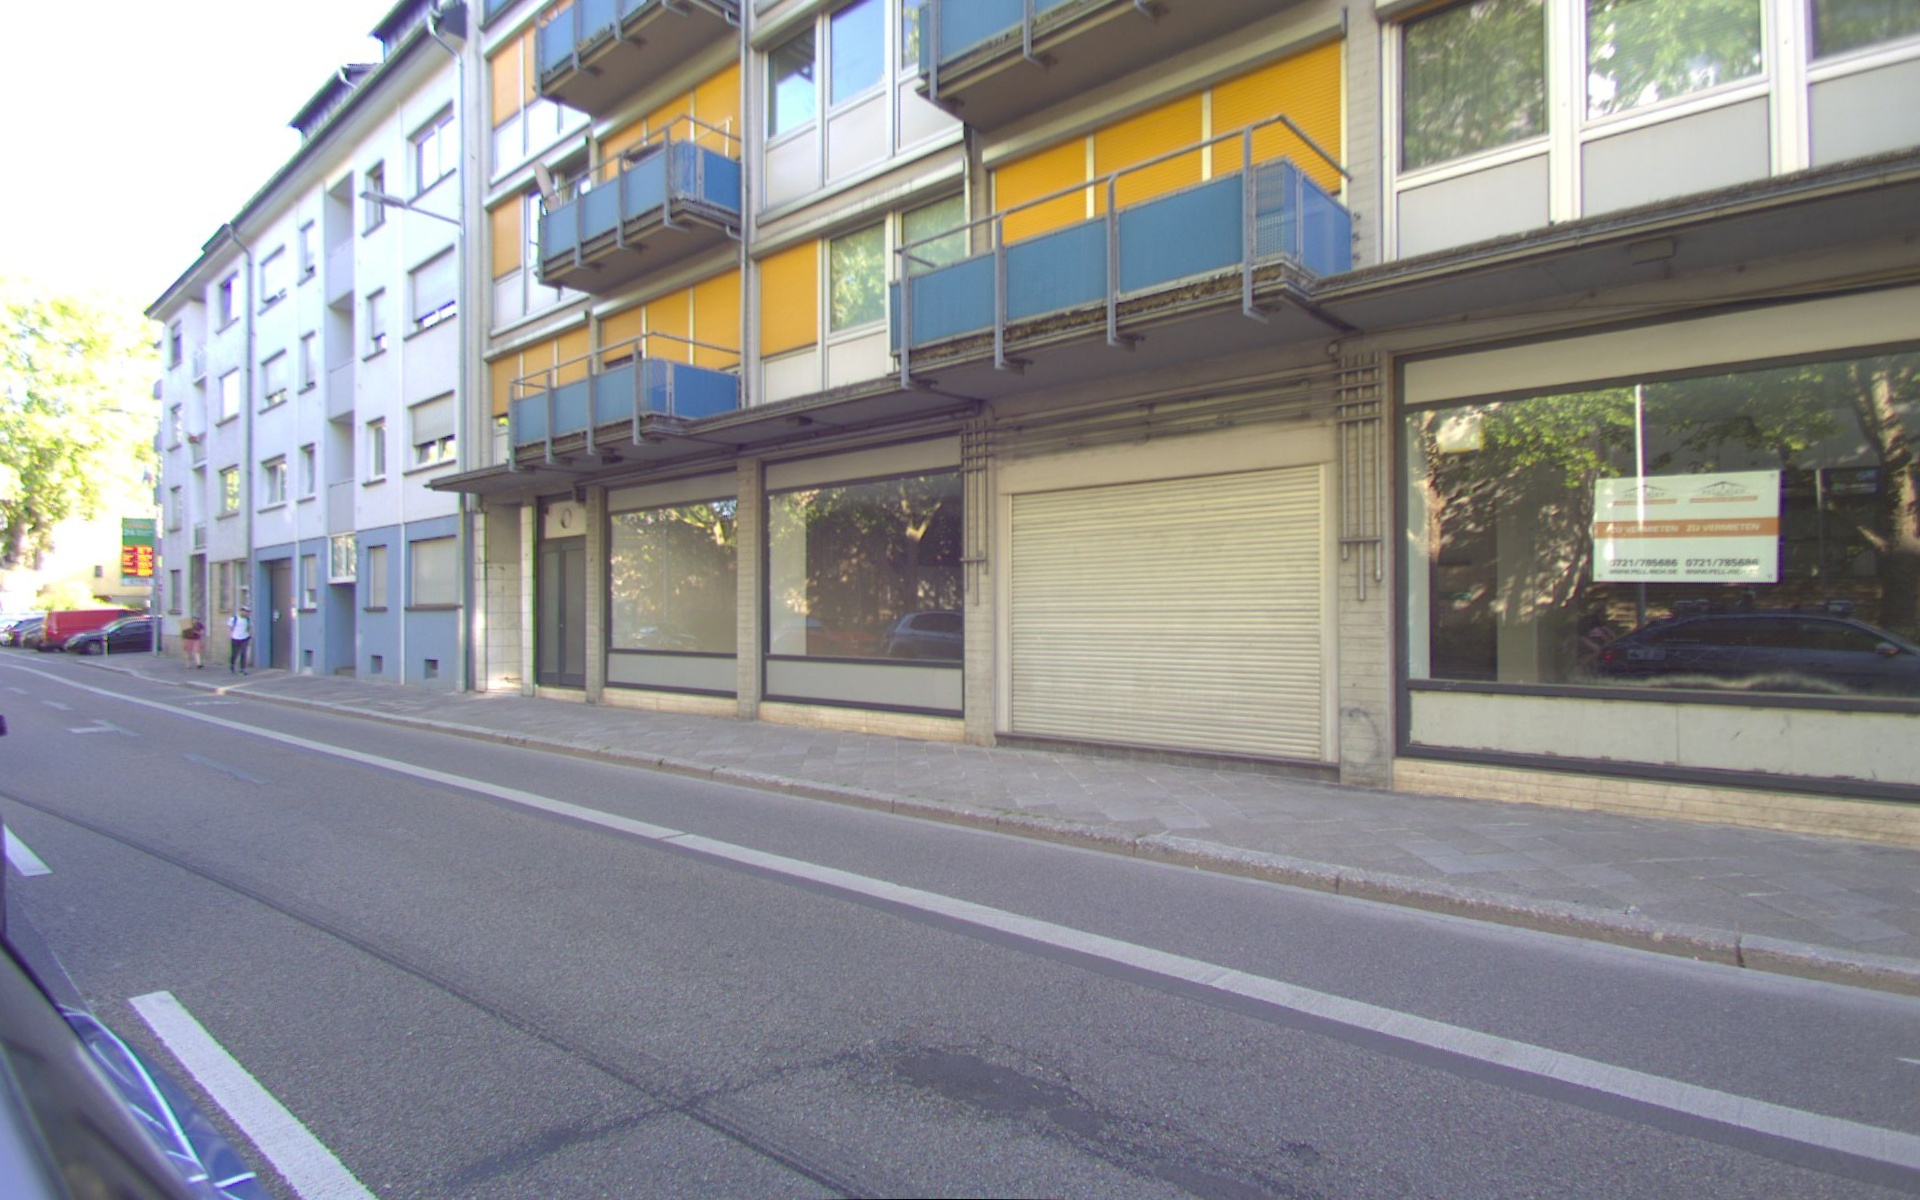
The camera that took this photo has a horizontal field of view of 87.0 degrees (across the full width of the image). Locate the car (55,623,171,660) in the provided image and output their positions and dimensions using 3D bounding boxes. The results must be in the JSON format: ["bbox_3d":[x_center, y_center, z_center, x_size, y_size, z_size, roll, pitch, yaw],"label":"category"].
[{"bbox_3d":[-36.668,1.765,43.864,1.635,1.422,3.623,-1,0,41],"label":"car"}]

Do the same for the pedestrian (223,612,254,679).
[{"bbox_3d":[-19.068,1.190,26.759,0.343,1.739,0.562,-2,0,41],"label":"pedestrian"}]

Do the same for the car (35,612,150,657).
[{"bbox_3d":[-40.559,1.578,47.364,1.635,1.937,3.878,-1,0,41],"label":"car"}]

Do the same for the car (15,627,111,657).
[{"bbox_3d":[-42.957,1.995,48.524,1.294,1.258,3.283,-1,0,41],"label":"car"}]

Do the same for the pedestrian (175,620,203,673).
[{"bbox_3d":[-22.550,1.355,29.606,0.343,1.529,0.562,-2,0,41],"label":"pedestrian"}]
